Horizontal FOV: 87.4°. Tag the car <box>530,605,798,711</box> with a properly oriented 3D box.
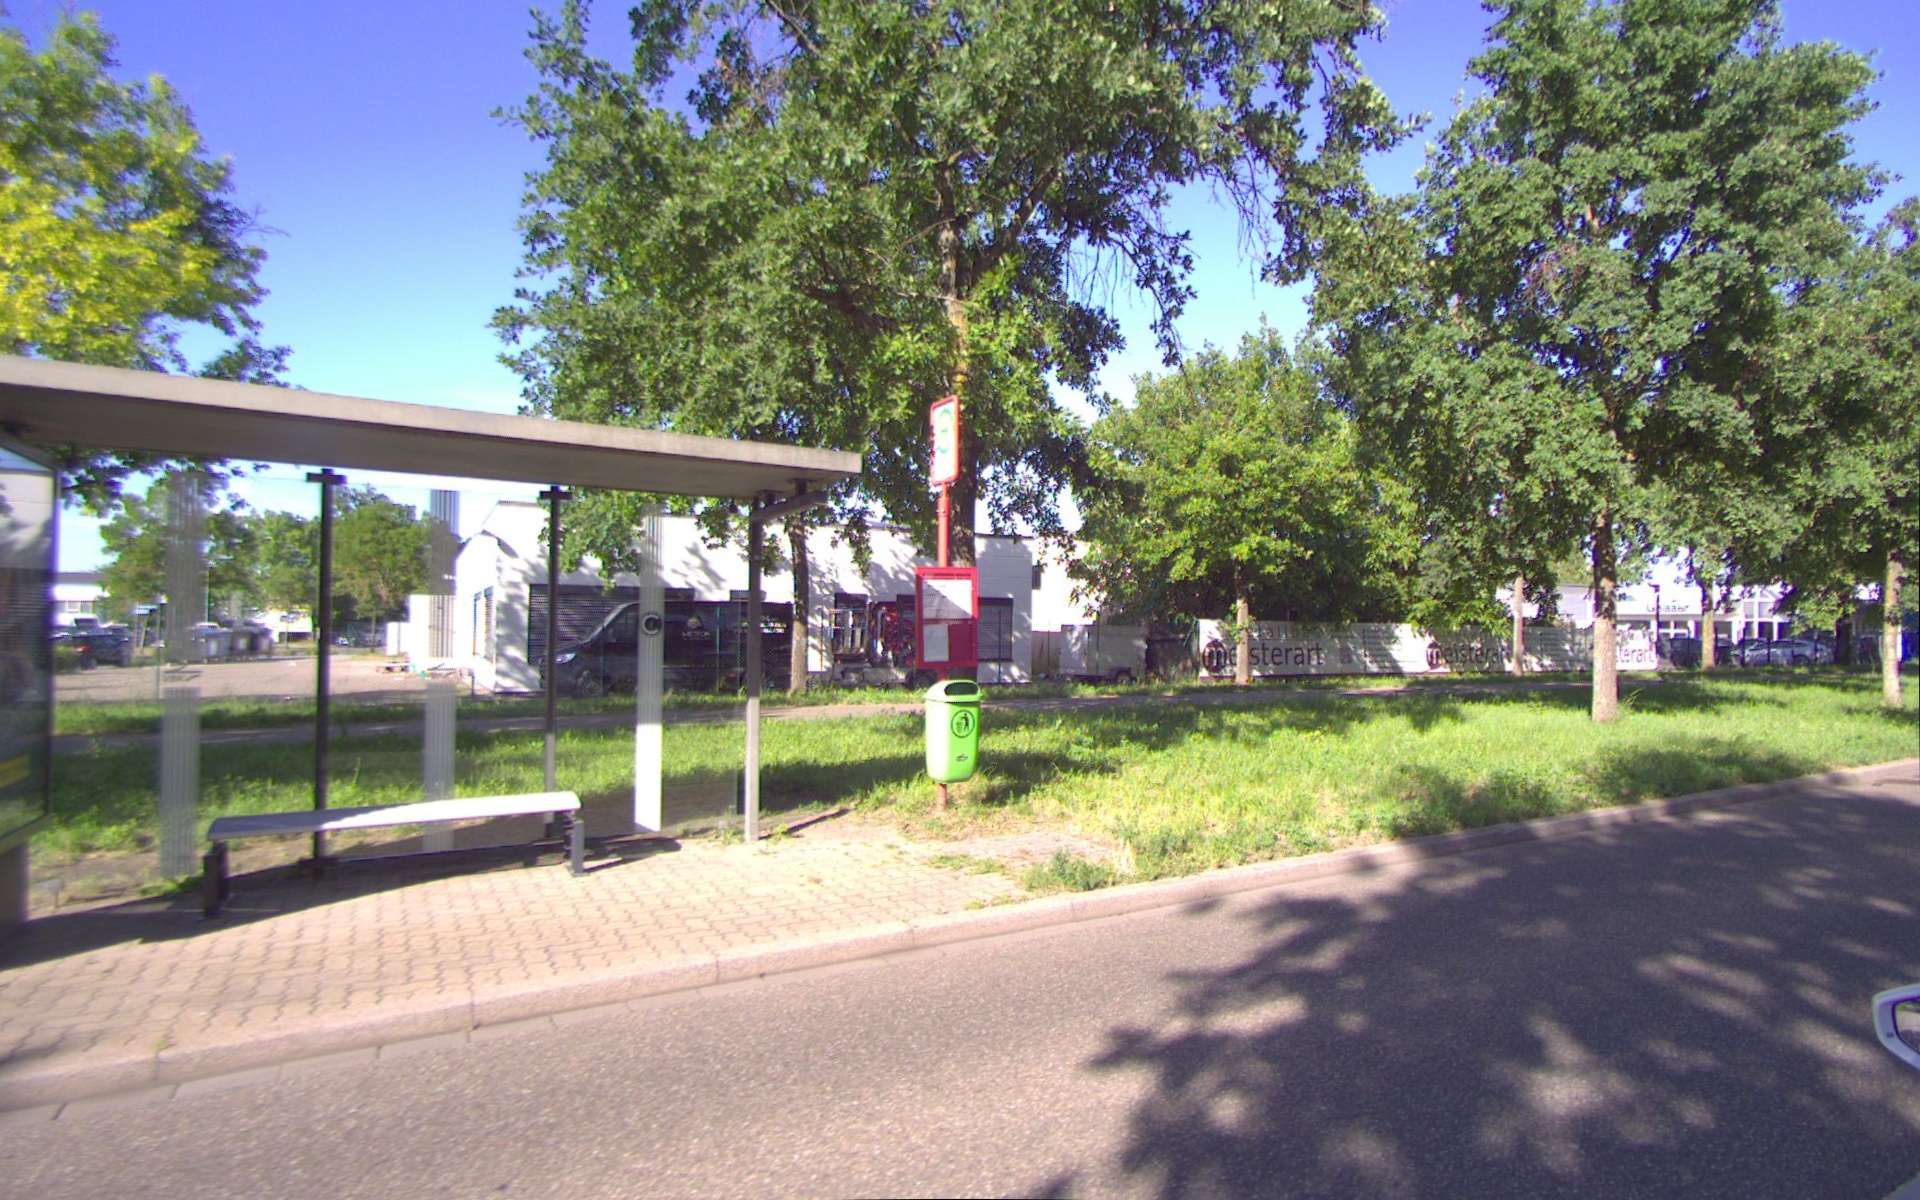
[{"bbox_3d":[-6.735,1.272,23.137,5.606,2.203,1.984,1,-1,-31],"label":"car"}]

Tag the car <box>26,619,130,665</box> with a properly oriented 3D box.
[{"bbox_3d":[-36.758,1.718,41.991,2.170,1.739,3.975,2,0,-25],"label":"car"}]

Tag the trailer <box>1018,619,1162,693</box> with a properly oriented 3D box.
[{"bbox_3d":[3.809,1.586,29.350,3.916,2.040,1.746,1,-1,-29],"label":"trailer"}]

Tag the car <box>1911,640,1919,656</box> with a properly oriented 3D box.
[{"bbox_3d":[102.672,5.137,106.652,4.847,1.587,1.976,2,0,-41],"label":"car"}]

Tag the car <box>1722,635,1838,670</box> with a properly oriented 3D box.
[{"bbox_3d":[42.326,2.687,51.930,1.841,1.539,4.289,2,0,-31],"label":"car"}]

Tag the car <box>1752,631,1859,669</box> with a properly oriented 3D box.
[{"bbox_3d":[44.971,2.640,53.507,1.841,1.769,3.966,2,0,-31],"label":"car"}]

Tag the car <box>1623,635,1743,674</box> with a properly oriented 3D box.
[{"bbox_3d":[33.485,2.502,46.602,2.173,1.539,3.966,2,0,-31],"label":"car"}]

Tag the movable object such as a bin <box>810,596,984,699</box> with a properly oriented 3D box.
[{"bbox_3d":[-1.679,1.239,26.909,4.186,2.549,1.984,2,0,-30],"label":"movable object such as a bin"}]

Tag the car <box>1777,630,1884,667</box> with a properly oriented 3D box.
[{"bbox_3d":[47.492,2.631,54.886,1.977,1.765,3.967,2,0,-30],"label":"car"}]
